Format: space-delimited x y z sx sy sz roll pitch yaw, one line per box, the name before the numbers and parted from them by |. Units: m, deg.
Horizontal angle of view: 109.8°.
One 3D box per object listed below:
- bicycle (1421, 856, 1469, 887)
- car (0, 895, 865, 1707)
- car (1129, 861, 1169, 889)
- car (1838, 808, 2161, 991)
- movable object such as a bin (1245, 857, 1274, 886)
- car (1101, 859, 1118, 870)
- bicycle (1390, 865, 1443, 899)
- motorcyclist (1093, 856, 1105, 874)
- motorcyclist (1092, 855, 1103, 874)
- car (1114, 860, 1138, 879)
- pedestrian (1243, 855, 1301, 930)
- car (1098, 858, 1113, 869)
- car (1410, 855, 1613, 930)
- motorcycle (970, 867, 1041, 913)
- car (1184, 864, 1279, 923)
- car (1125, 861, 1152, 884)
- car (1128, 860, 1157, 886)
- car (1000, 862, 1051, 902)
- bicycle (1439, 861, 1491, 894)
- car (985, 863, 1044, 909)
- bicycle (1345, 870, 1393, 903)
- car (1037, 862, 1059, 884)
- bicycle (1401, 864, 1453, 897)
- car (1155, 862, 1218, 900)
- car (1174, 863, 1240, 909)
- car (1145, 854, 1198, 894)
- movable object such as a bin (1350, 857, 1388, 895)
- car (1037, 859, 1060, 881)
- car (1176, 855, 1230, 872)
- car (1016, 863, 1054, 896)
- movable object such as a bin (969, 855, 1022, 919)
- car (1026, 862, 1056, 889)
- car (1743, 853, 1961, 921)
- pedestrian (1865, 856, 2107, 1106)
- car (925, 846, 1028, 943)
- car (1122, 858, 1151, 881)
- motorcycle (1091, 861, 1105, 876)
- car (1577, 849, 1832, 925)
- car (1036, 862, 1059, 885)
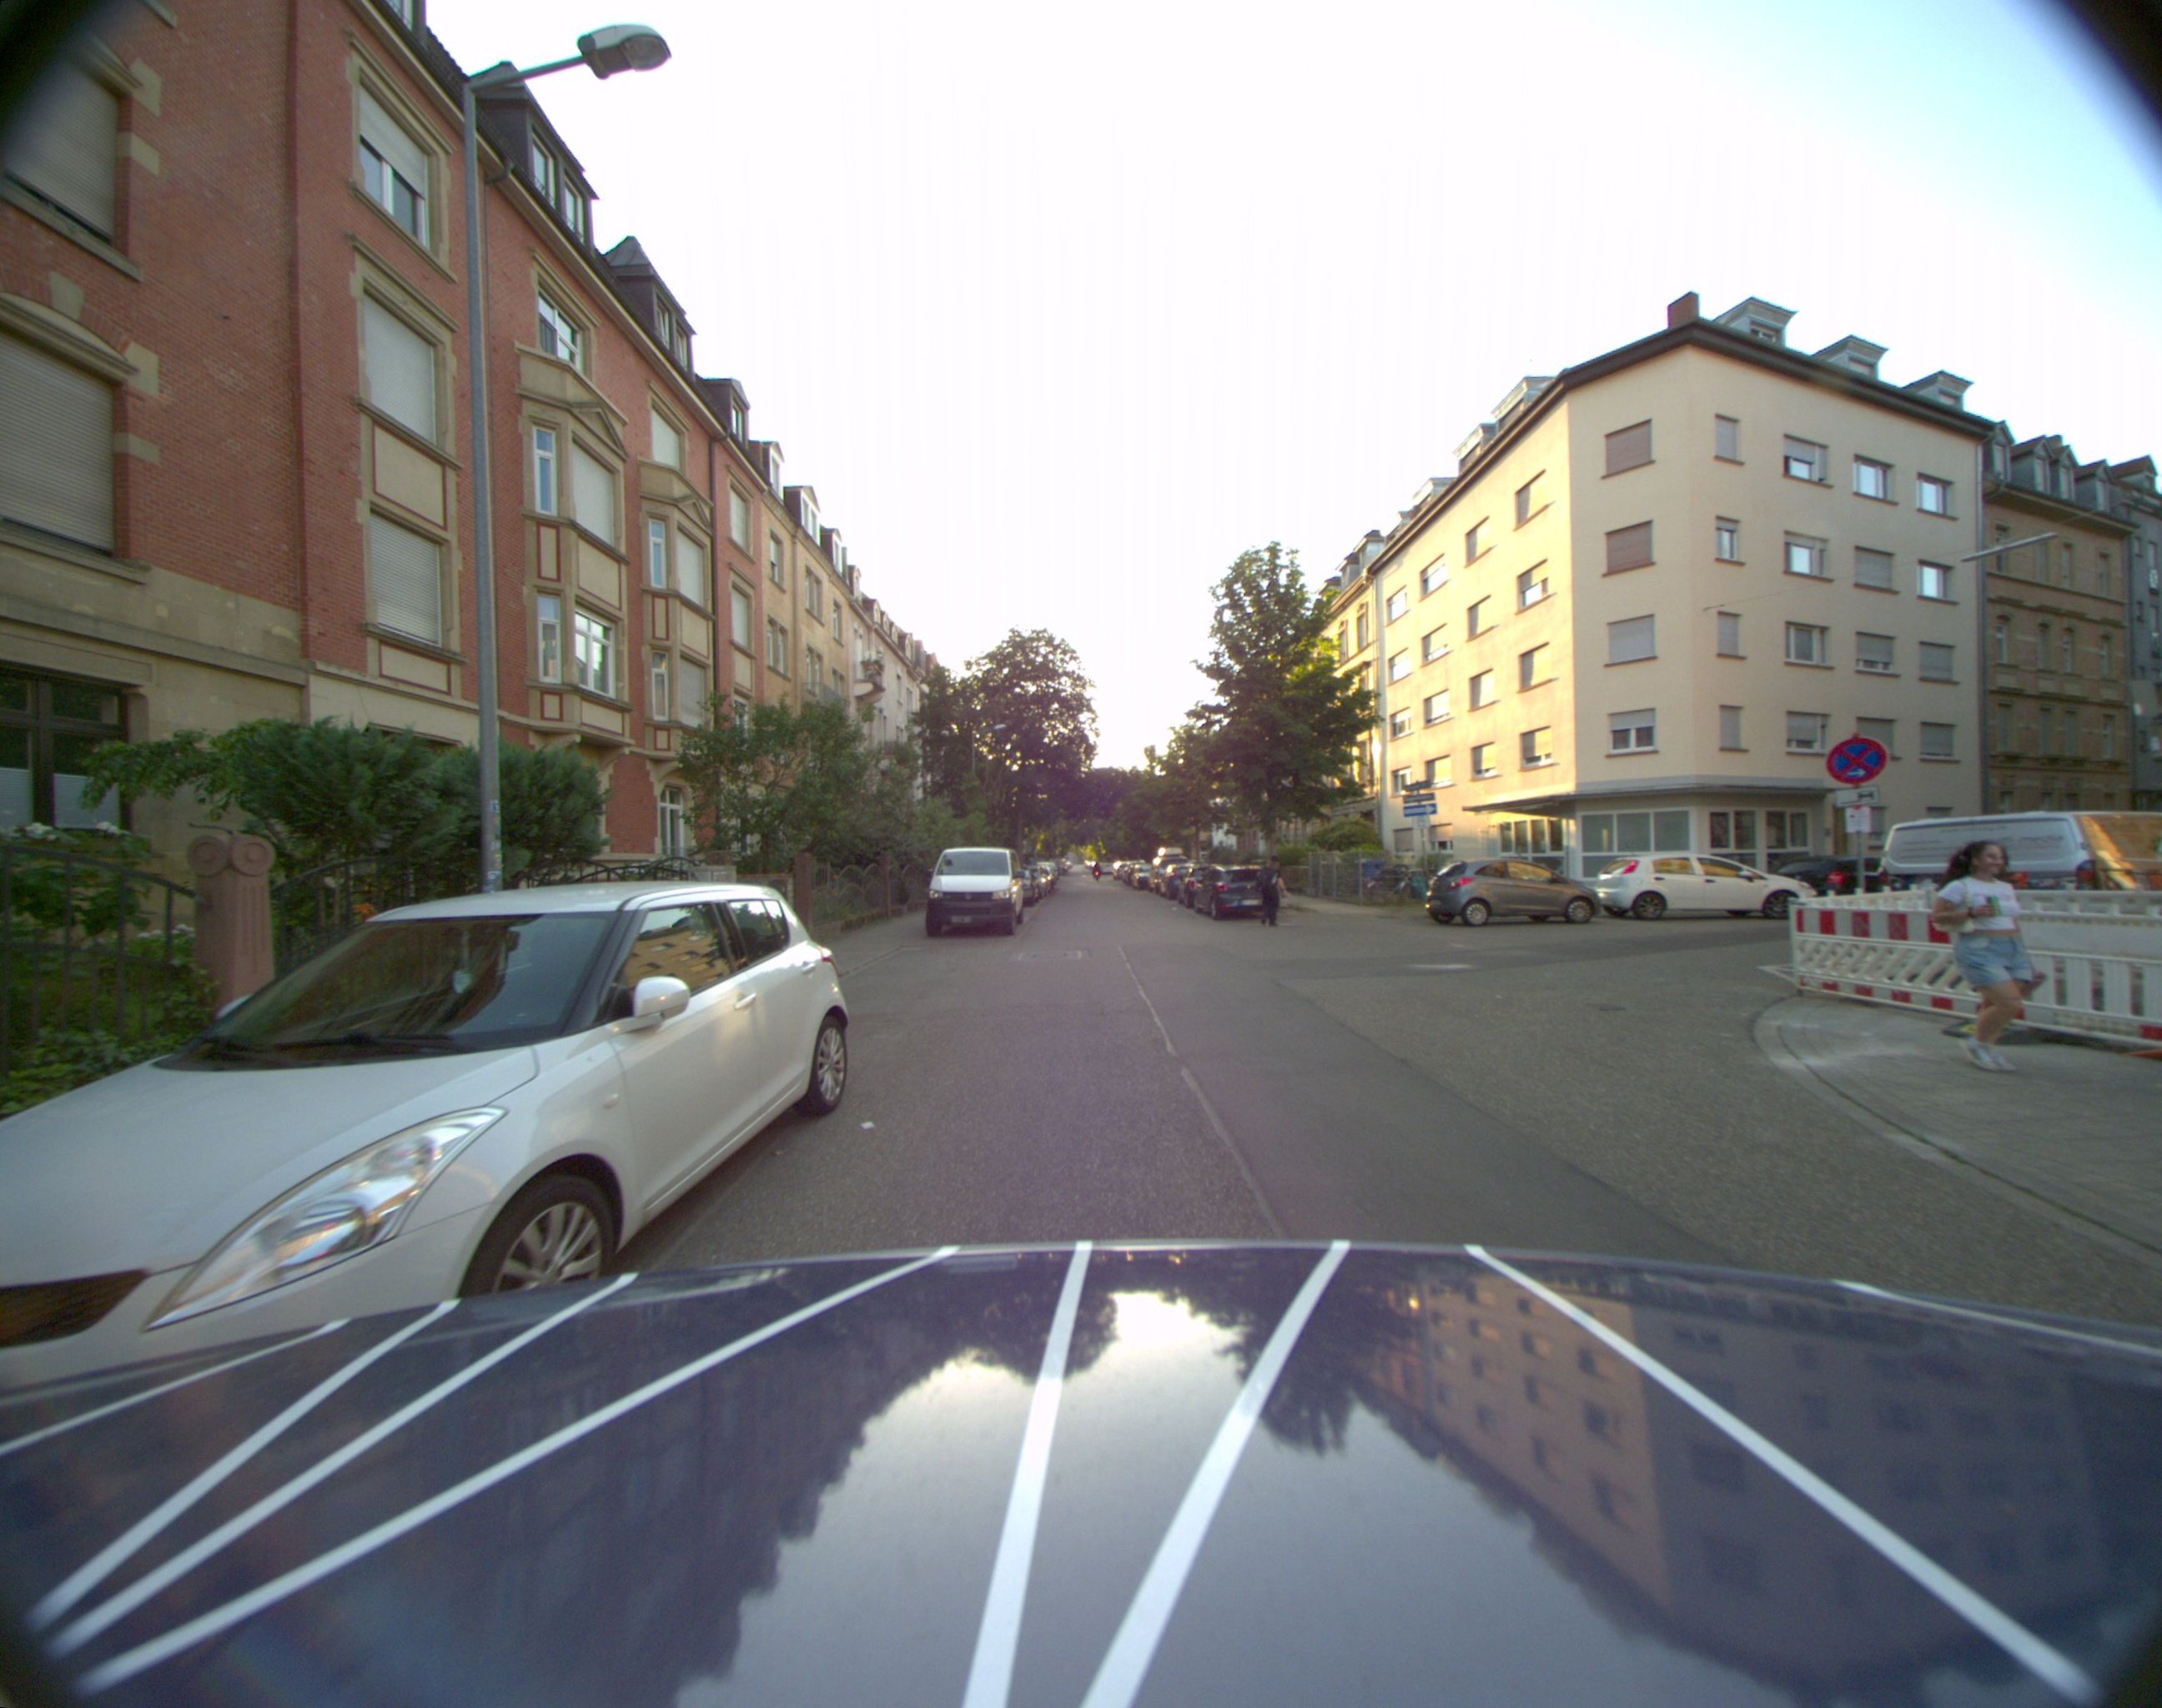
bicycle | 13.742 0.639 28.688 1.548 1.086 0.500 -3 0 -6
car | -2.437 1.044 3.346 1.678 1.468 3.862 -2 0 2
car | 3.856 1.151 43.369 1.733 1.433 4.023 -2 0 -2
car | 13.058 0.465 10.236 5.300 1.963 2.205 -1 0 -23
movable object such as a bin | 9.078 0.879 38.677 0.948 1.379 1.551 -3 0 -4
car | 3.840 1.408 102.822 1.953 1.484 3.738 -2 0 -1
bicycle | 11.355 0.952 25.728 0.502 1.086 1.545 -3 0 -38
motorcyclist | 1.518 0.910 64.900 0.891 1.496 0.970 1 1 10
motorcyclist | 1.379 0.890 64.146 0.789 1.531 0.546 1 1 10
car | 4.018 1.377 68.850 1.677 1.627 3.940 -2 0 -3
pedestrian | 4.553 0.900 18.121 0.960 1.712 0.889 -3 1 -45
car | 3.469 1.387 108.459 1.840 1.484 3.641 -2 0 -1
car | 9.651 0.842 17.233 3.515 1.499 1.845 -2 -1 -1
motorcycle | -2.524 1.178 25.474 2.099 1.473 1.130 0 0 -34
car | 4.250 1.068 22.139 1.679 1.453 4.462 -2 0 -2
car | 3.957 1.263 52.546 1.682 1.489 3.625 -2 0 2
car | 3.869 1.185 48.086 1.441 1.485 3.298 -2 0 -2
car | -2.457 1.224 34.938 1.761 1.573 4.842 -3 0 2
bicycle | 13.854 0.832 27.395 1.635 1.086 0.500 -3 0 -6
car | -2.510 1.182 29.684 1.724 1.542 4.325 -2 0 2
bicycle | 9.751 1.077 25.787 0.689 1.019 1.931 -3 0 -6
car | -2.445 1.376 56.917 1.502 1.538 3.338 -2 0 -2
bicycle | 11.817 0.911 25.978 0.502 1.086 1.545 -3 0 -38
car | 4.360 1.089 32.122 1.866 1.404 4.590 -2 0 -1
car | 4.387 1.079 26.966 1.746 1.412 4.143 -2 0 2
car | 4.317 0.926 36.978 1.866 1.768 4.622 -2 0 -1
movable object such as a bin | 10.826 0.819 28.563 0.868 1.344 1.398 -3 0 1
car | -2.660 1.268 62.532 1.737 1.691 4.167 -2 0 -2
car | 10.716 0.853 66.786 4.413 1.333 1.626 -2 0 0
car | -2.330 1.264 39.435 1.590 1.516 3.602 -3 0 2
movable object such as a bin | -2.621 0.981 23.611 1.415 1.867 2.324 0 0 -1
car | -2.448 1.300 47.299 1.737 1.498 4.163 -2 0 -2
car | 18.546 0.742 18.325 4.082 1.430 1.996 -1 -1 -17
pedestrian | 6.326 0.837 5.365 0.711 1.609 0.787 -3 0 3
car | -2.373 0.861 18.668 1.866 2.027 5.544 0 0 -1
car | 4.166 1.138 57.588 1.866 1.653 4.021 -2 0 0
motorcycle | 1.466 1.214 64.659 0.848 1.202 2.076 1 0 10
car | 14.172 0.730 17.559 4.066 1.499 1.975 -3 0 12
car | -2.308 1.325 52.524 1.479 1.498 3.928 -2 0 -2
